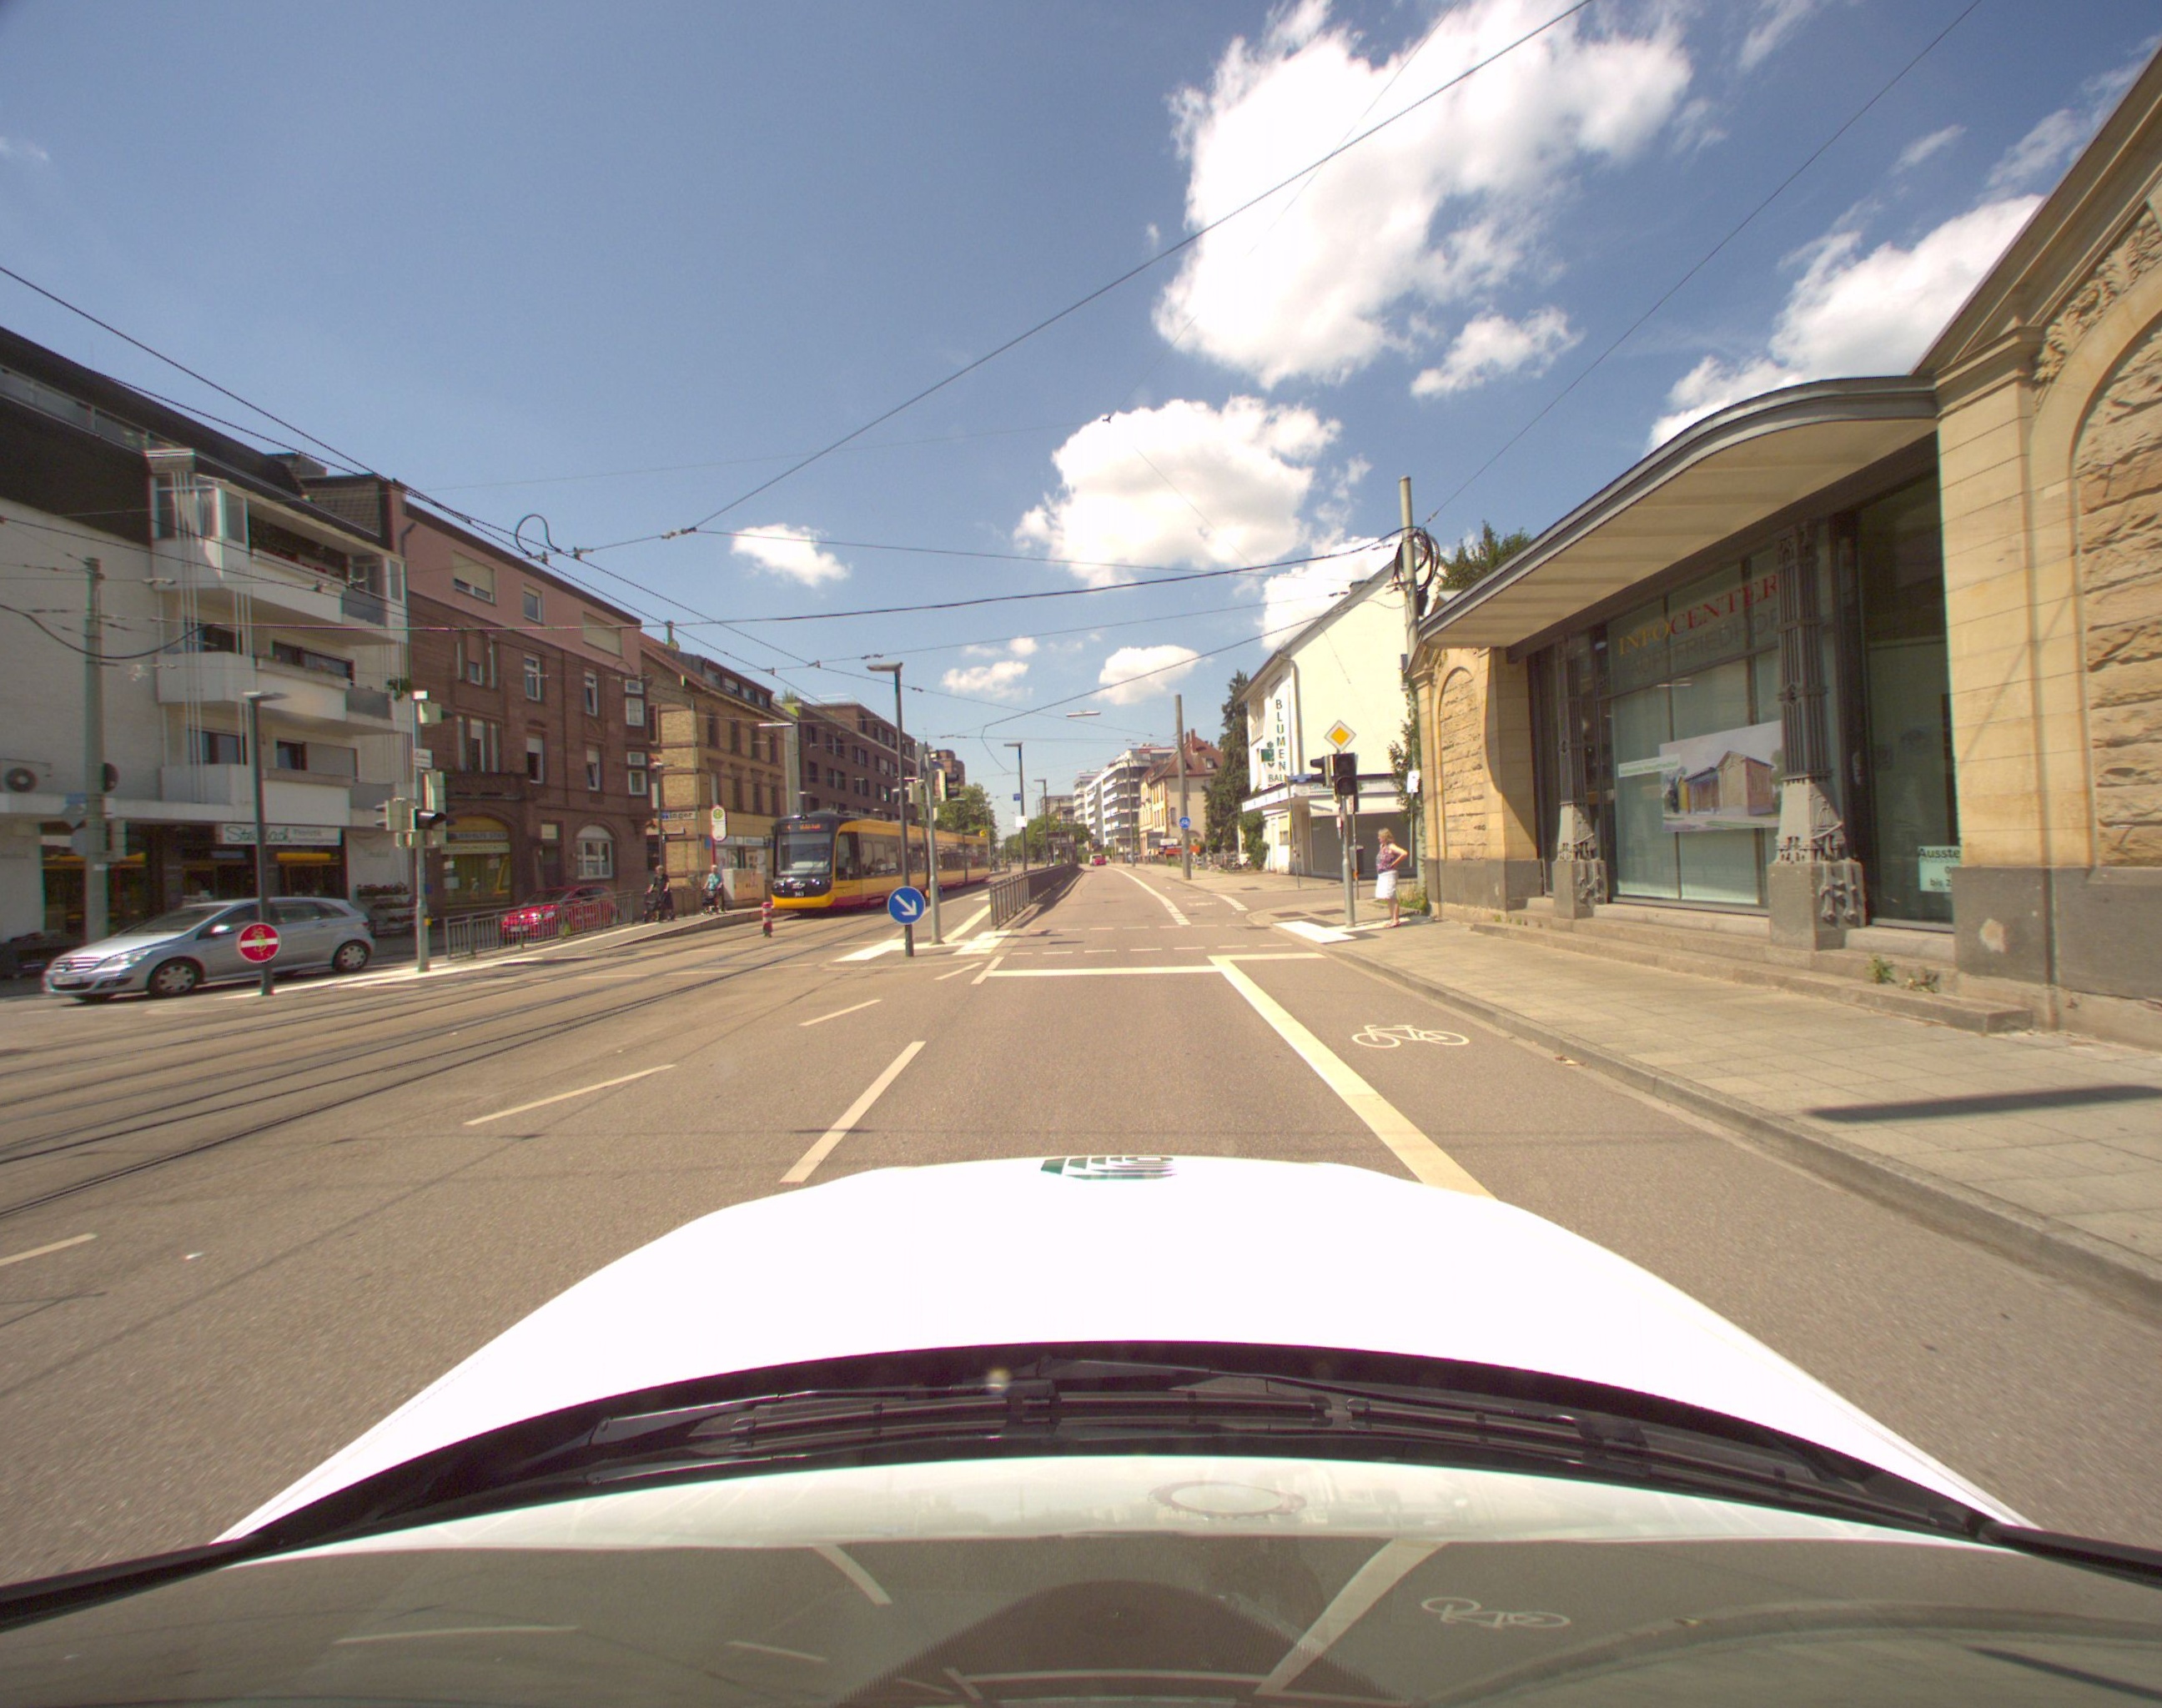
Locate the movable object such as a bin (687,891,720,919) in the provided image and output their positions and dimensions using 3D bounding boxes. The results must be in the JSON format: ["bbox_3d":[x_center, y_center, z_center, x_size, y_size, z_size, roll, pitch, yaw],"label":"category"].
[{"bbox_3d":[-11.435,1.549,24.674,0.673,0.780,0.619,-3,0,-1],"label":"movable object such as a bin"}]

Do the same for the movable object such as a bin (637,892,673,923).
[{"bbox_3d":[-11.852,1.484,22.691,0.673,0.780,0.538,-3,0,-1],"label":"movable object such as a bin"}]

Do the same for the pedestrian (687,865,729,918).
[{"bbox_3d":[-11.501,1.137,25.151,0.783,1.560,0.920,-3,-1,1],"label":"pedestrian"}]

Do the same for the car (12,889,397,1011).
[{"bbox_3d":[-15.736,1.616,15.097,1.725,1.615,4.616,-3,0,8],"label":"car"}]

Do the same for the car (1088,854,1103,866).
[{"bbox_3d":[2.527,1.024,143.179,1.991,1.991,5.502,-5,0,-6],"label":"car"}]

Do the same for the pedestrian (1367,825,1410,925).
[{"bbox_3d":[5.295,0.348,13.994,0.558,1.666,0.685,-3,0,24],"label":"pedestrian"}]

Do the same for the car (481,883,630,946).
[{"bbox_3d":[-15.063,1.678,23.623,1.648,1.444,3.854,-3,0,1],"label":"car"}]

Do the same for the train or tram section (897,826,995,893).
[{"bbox_3d":[-8.426,0.387,53.752,3.223,3.567,16.352,-3,-1,1],"label":"train or tram section"}]

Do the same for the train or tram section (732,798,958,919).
[{"bbox_3d":[-8.850,0.238,35.458,3.239,3.567,20.505,-3,-1,1],"label":"train or tram section"}]

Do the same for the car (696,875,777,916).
[{"bbox_3d":[-14.959,1.747,35.555,1.644,1.456,3.792,-5,0,3],"label":"car"}]

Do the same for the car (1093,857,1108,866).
[{"bbox_3d":[3.244,1.205,136.516,1.990,1.442,4.010,-3,0,-5],"label":"car"}]

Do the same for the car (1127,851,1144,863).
[{"bbox_3d":[8.475,0.440,126.612,1.874,1.624,4.633,-6,0,-4],"label":"car"}]

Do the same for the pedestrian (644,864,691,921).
[{"bbox_3d":[-11.872,1.097,23.380,0.783,1.560,0.920,-3,-1,1],"label":"pedestrian"}]

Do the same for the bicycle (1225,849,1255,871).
[{"bbox_3d":[8.943,0.351,45.886,1.524,1.086,0.430,-5,-1,7],"label":"bicycle"}]
